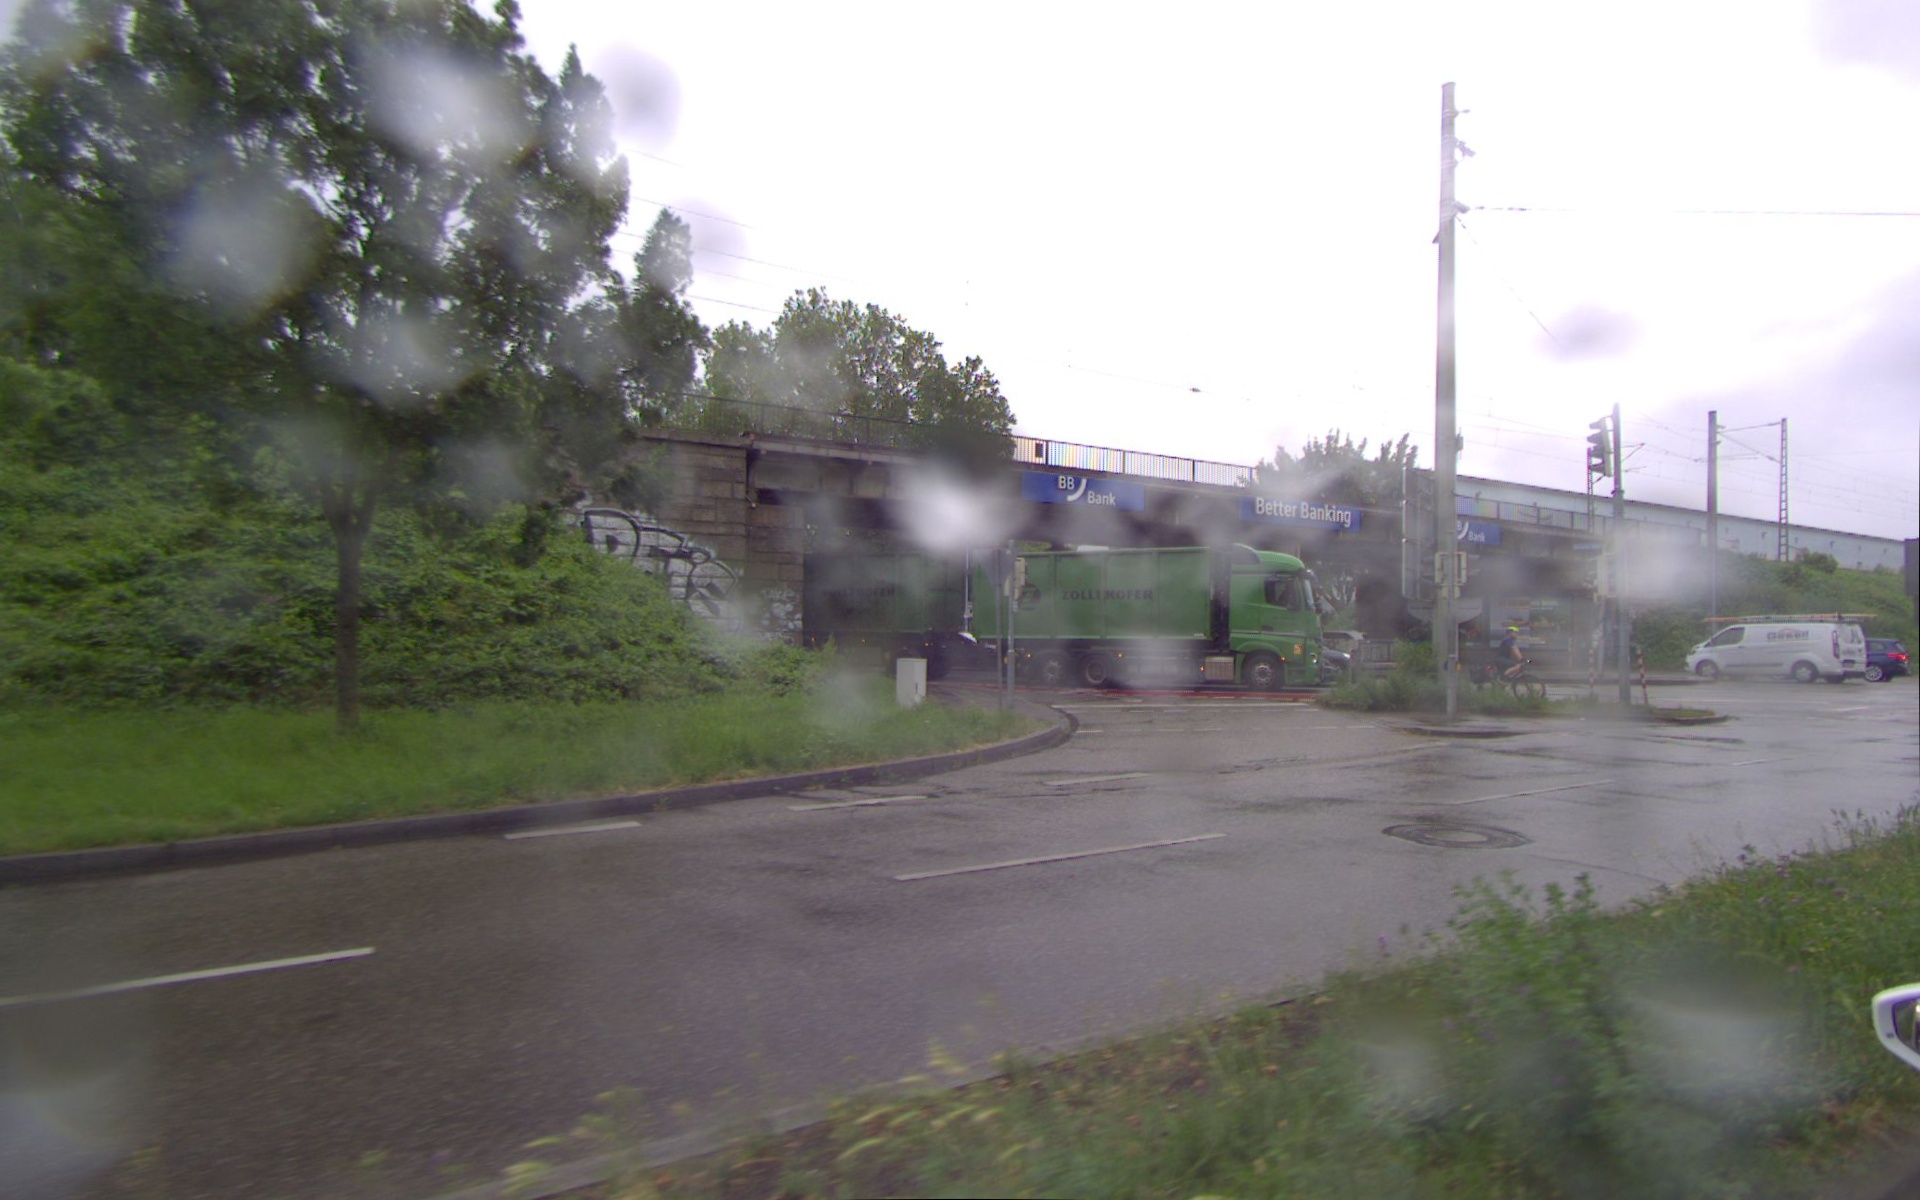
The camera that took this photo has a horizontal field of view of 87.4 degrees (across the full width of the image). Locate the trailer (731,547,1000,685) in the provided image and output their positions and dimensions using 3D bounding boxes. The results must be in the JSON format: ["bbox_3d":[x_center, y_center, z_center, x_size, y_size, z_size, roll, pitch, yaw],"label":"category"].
[{"bbox_3d":[-3.107,0.530,32.421,8.358,4.039,2.688,0,-2,24],"label":"trailer"}]

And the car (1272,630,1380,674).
[{"bbox_3d":[16.250,2.268,44.595,4.357,1.870,1.999,0,-2,25],"label":"car"}]

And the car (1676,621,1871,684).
[{"bbox_3d":[27.696,1.764,34.417,1.972,1.981,4.794,0,-2,-23],"label":"car"}]

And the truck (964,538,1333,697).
[{"bbox_3d":[5.228,0.517,28.657,10.000,4.001,2.686,0,-2,24],"label":"truck"}]

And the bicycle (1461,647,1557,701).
[{"bbox_3d":[12.455,1.669,22.855,1.877,1.109,0.694,1,0,27],"label":"bicycle"}]

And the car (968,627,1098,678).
[{"bbox_3d":[2.460,1.715,33.580,3.923,1.594,1.999,-1,-2,23],"label":"car"}]

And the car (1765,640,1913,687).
[{"bbox_3d":[33.199,2.369,38.022,1.981,1.640,3.905,2,-2,-36],"label":"car"}]

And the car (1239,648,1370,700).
[{"bbox_3d":[11.166,2.357,32.635,3.922,1.566,1.660,0,-2,21],"label":"car"}]

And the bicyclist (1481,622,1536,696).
[{"bbox_3d":[12.467,1.319,22.843,1.027,1.614,0.804,1,-1,27],"label":"bicyclist"}]
